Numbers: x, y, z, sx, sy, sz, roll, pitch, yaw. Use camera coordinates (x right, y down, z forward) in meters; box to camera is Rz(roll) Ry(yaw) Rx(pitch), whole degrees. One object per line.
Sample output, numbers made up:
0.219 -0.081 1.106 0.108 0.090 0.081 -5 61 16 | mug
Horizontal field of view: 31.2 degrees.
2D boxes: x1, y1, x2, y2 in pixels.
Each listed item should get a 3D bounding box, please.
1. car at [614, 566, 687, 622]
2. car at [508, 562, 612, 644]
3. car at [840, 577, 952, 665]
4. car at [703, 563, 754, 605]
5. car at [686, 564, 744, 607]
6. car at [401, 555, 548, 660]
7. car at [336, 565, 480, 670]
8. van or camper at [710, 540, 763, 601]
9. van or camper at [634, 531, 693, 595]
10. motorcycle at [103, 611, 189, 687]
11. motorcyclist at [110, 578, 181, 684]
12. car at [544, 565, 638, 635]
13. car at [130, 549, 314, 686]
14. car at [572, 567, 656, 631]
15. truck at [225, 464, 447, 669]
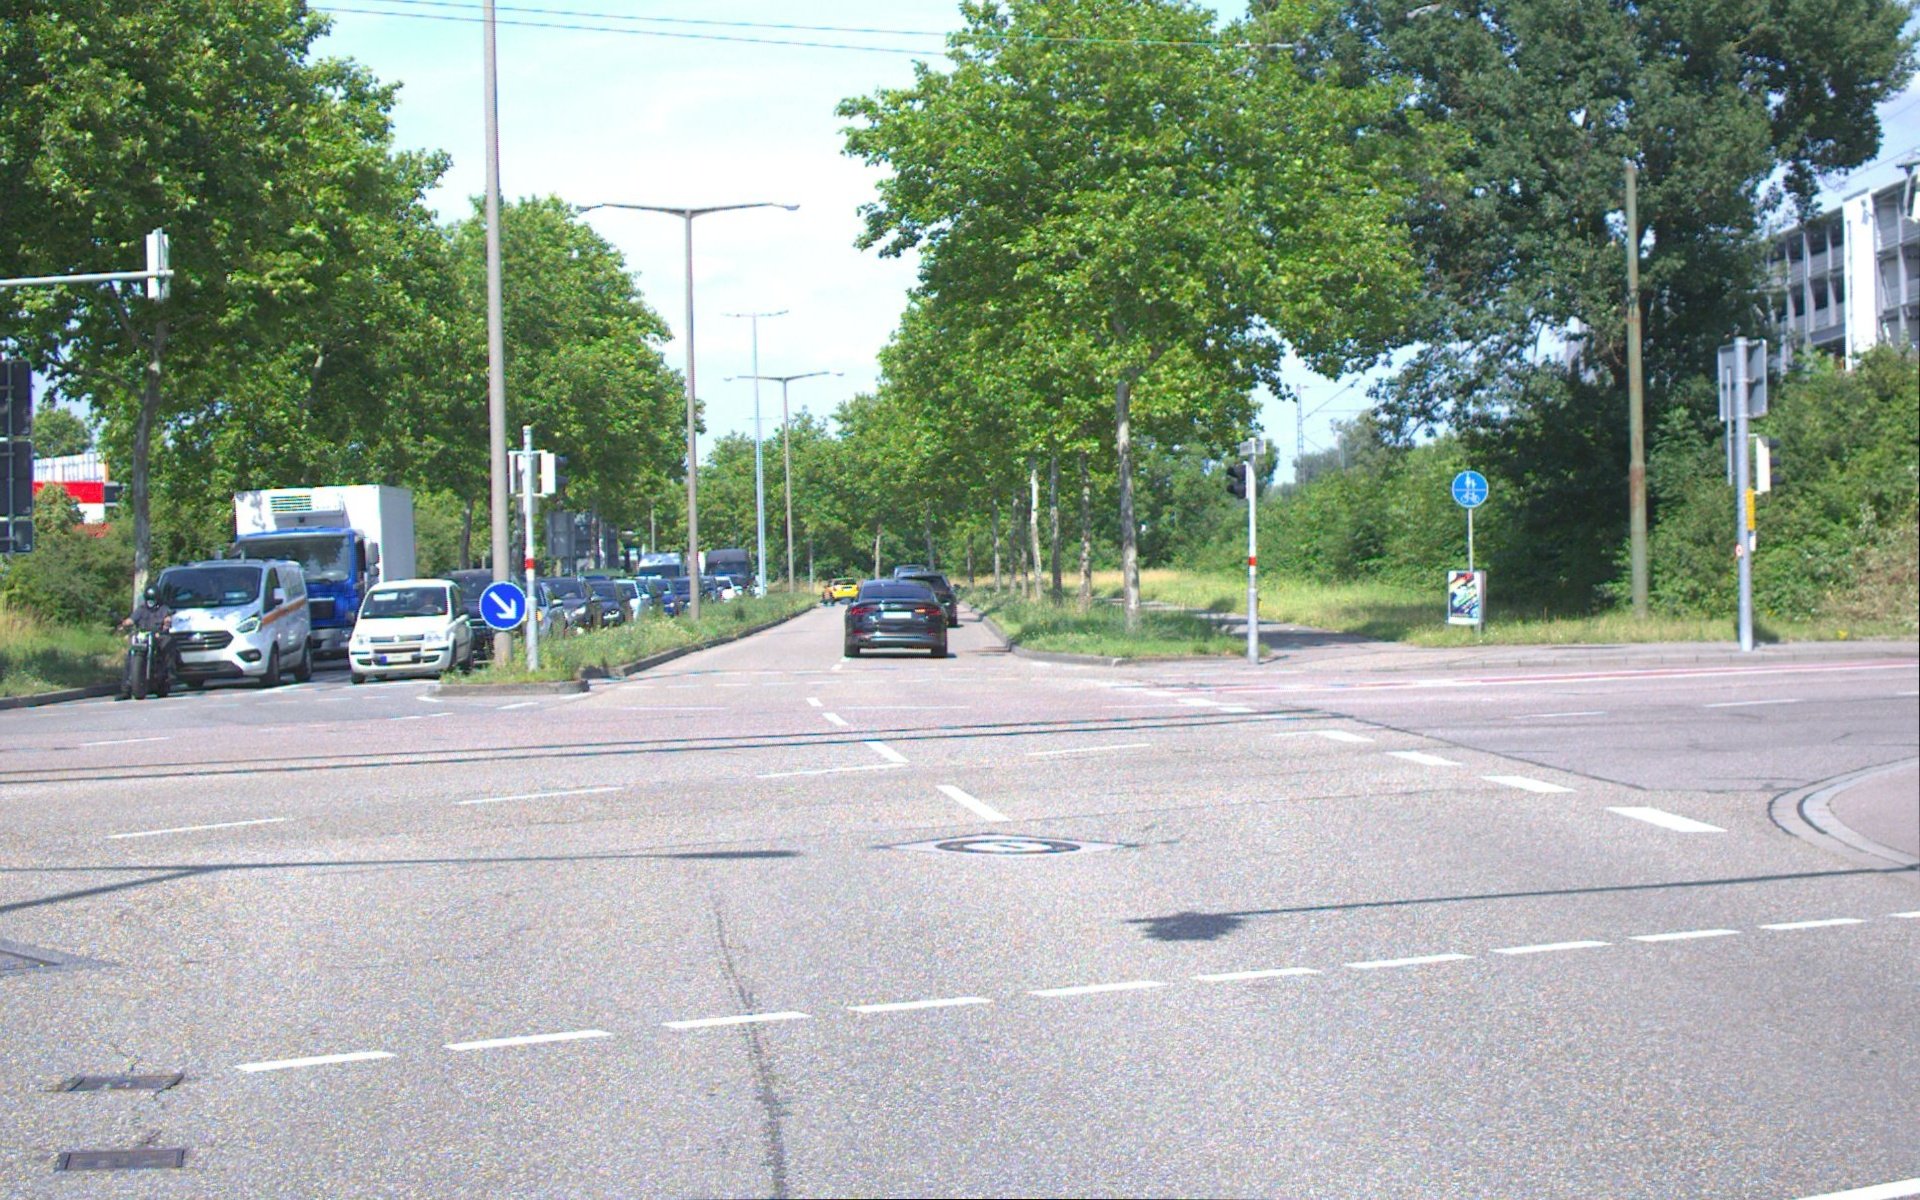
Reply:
-8.753 -0.178 97.562 1.784 1.484 4.212 -2 1 -2 | car
-8.342 0.037 71.955 1.689 1.581 4.240 -2 1 -1 | car
-1.192 0.349 62.025 1.908 1.458 4.622 -1 1 -2 | car
-8.865 -0.637 131.751 1.689 1.505 3.815 -2 1 -1 | car
-8.901 -0.535 125.190 1.783 1.454 4.472 -2 1 -1 | car
-8.201 0.132 58.424 1.820 1.641 4.694 -2 0 -1 | car
-8.386 0.238 52.489 1.593 1.472 3.729 -2 1 -1 | car
-9.130 -1.184 140.704 1.938 2.360 5.398 -2 0 -2 | van or camper
-12.624 -1.588 146.650 2.015 2.579 5.517 -2 1 -1 | van or camper
-11.391 0.672 48.151 0.688 0.988 2.217 -1 1 -1 | motorcycle
-11.428 0.427 48.242 0.743 1.465 0.987 -1 1 -1 | motorcyclist
-8.481 -0.020 79.229 1.689 1.468 4.218 -3 1 -1 | car
-11.342 0.219 53.168 1.976 1.992 5.032 -1 1 -3 | car
-8.526 -0.051 84.866 1.689 1.467 3.815 -2 1 -1 | car
-11.425 -0.656 63.557 2.804 3.459 6.692 -3 1 -1 | truck
